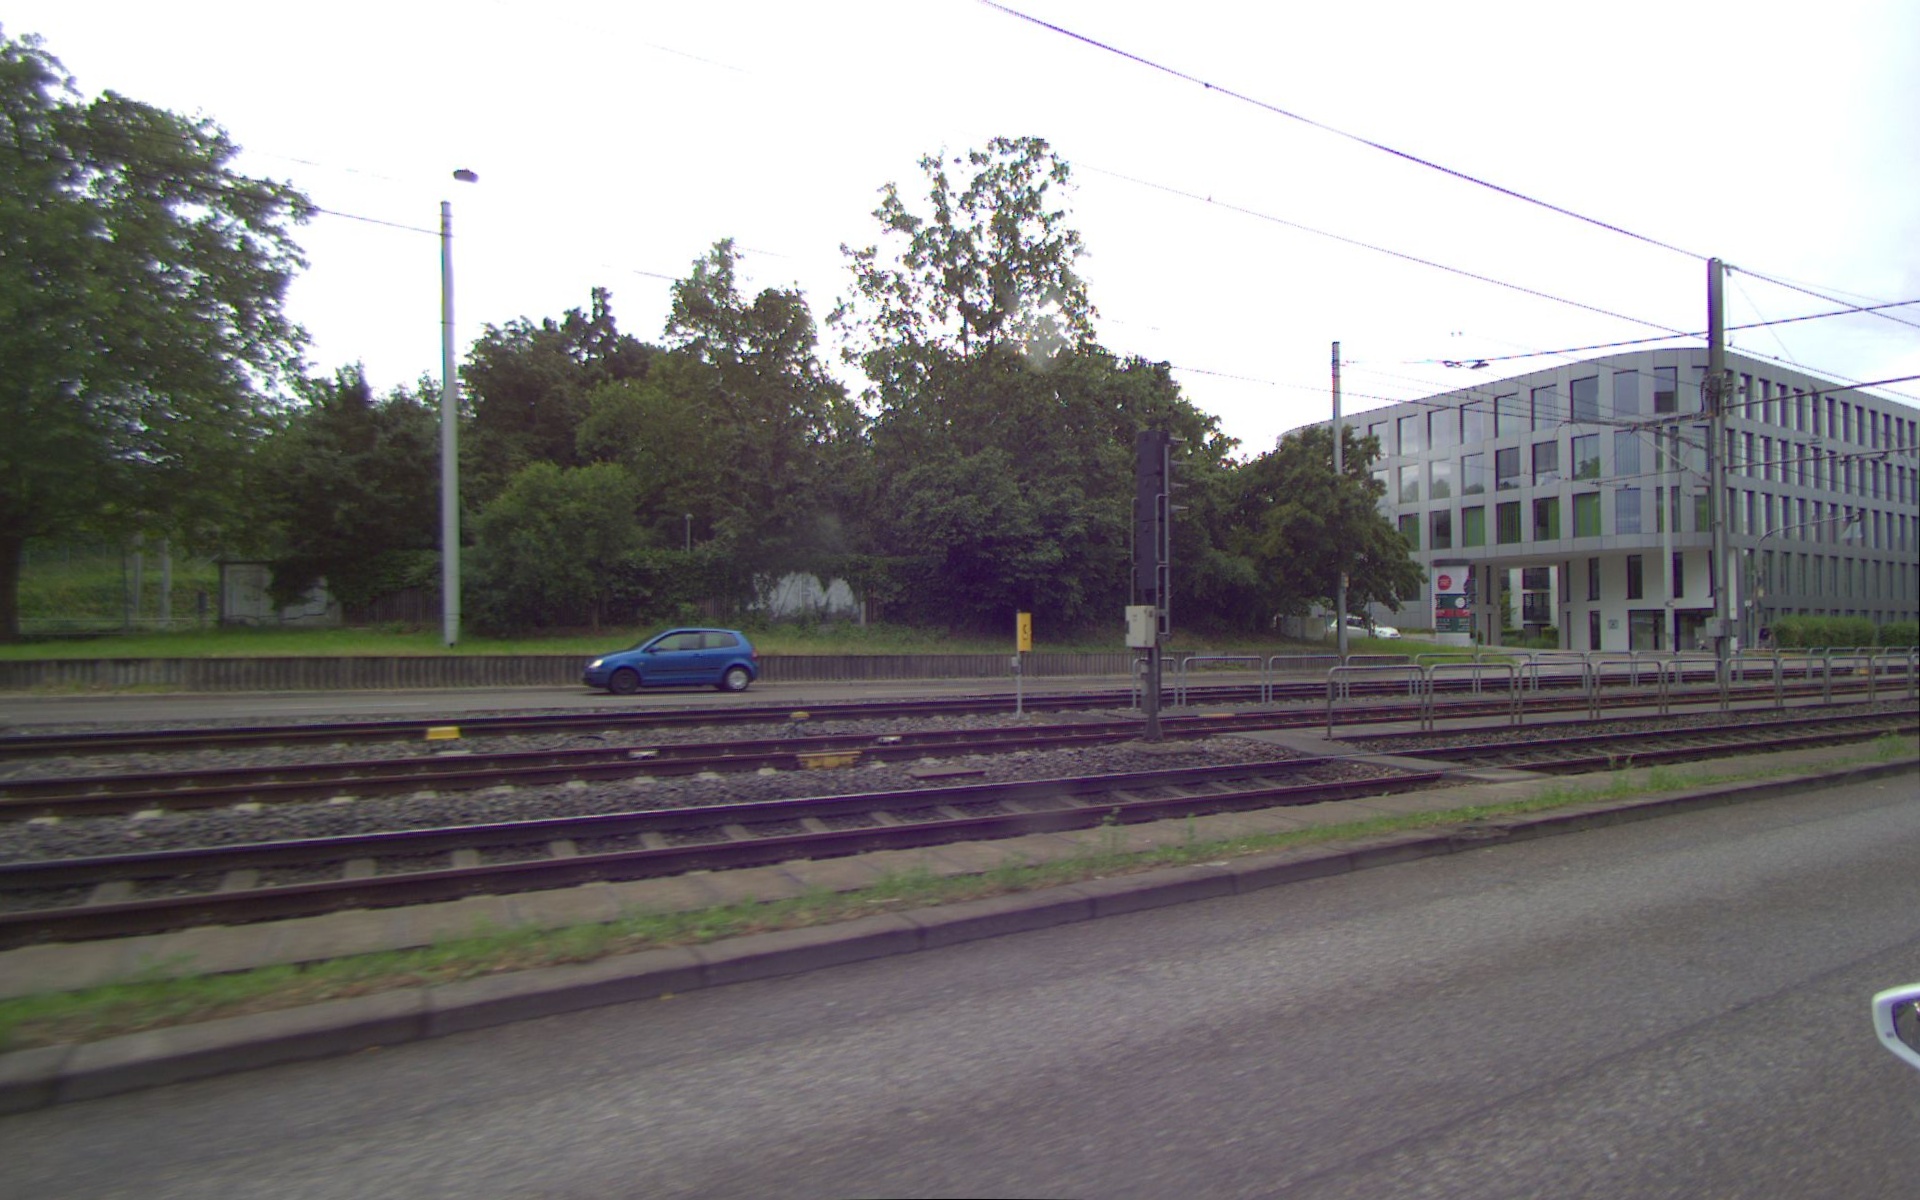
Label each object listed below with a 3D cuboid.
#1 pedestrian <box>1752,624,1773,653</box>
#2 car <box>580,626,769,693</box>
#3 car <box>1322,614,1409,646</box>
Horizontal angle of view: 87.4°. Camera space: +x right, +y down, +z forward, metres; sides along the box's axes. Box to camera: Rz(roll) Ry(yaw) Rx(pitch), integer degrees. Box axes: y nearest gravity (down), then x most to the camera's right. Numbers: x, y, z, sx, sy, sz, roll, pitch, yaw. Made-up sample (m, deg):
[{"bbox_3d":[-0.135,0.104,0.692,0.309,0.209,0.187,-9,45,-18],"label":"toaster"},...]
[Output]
[{"bbox_3d":[47.140,2.243,58.996,0.835,1.669,0.720,2,-1,-30],"label":"pedestrian"},{"bbox_3d":[-6.422,1.306,22.646,3.851,1.416,1.754,1,-2,-28],"label":"car"},{"bbox_3d":[21.423,1.569,53.233,1.904,1.472,3.897,1,1,-32],"label":"car"}]
